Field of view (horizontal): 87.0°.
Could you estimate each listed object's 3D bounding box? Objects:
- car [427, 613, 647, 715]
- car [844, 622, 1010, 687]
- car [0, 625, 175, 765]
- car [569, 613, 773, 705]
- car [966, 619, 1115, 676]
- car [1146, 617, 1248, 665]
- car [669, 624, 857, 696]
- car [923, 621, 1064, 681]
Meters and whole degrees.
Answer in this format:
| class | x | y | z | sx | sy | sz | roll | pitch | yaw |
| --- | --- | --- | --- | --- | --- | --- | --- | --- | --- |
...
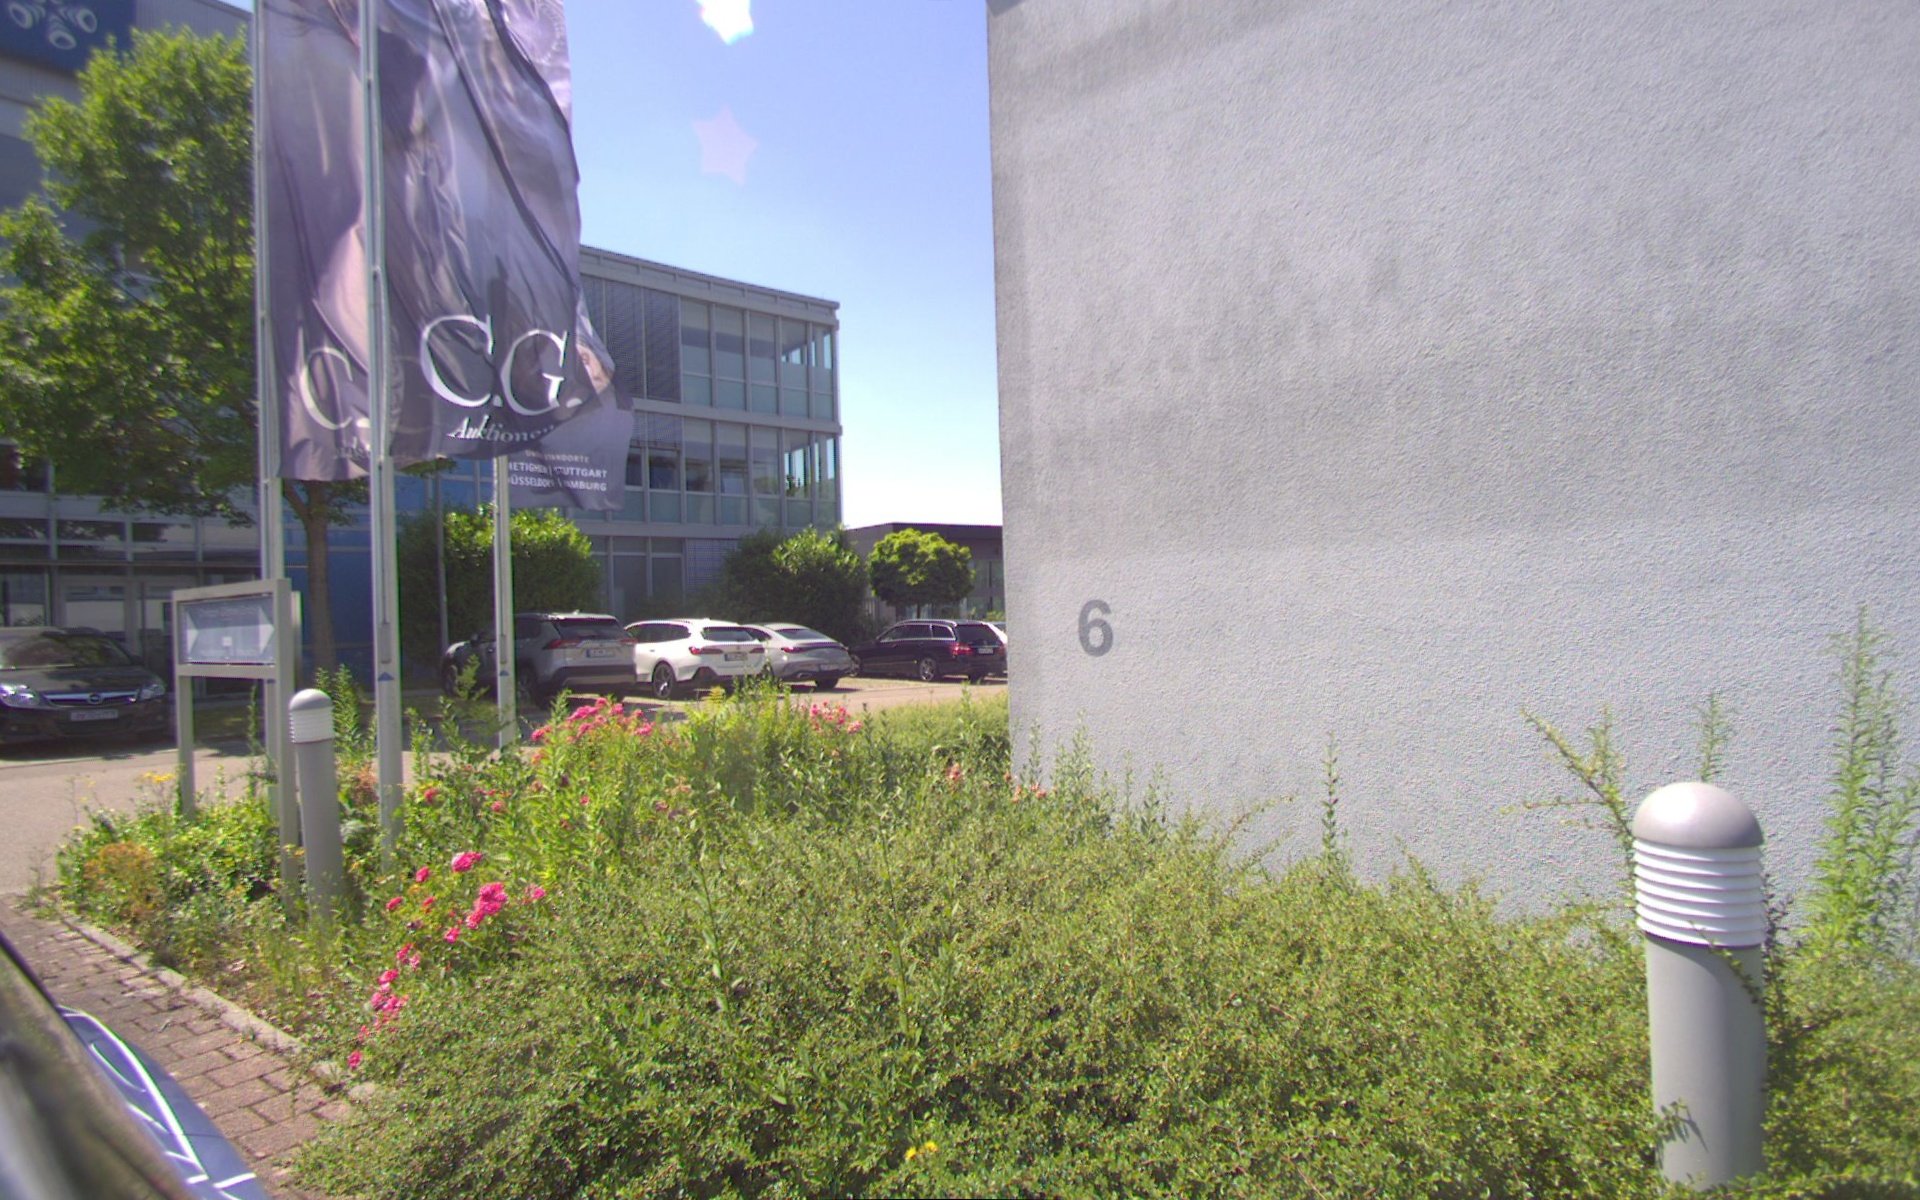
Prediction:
| class | x | y | z | sx | sy | sz | roll | pitch | yaw |
| --- | --- | --- | --- | --- | --- | --- | --- | --- | --- |
| car | -7.721 | 1.084 | 18.344 | 4.163 | 1.650 | 1.811 | -1 | -2 | 36 |
| car | -0.890 | 1.286 | 25.078 | 4.173 | 1.435 | 1.727 | -1 | -1 | 44 |
| car | -11.796 | 1.095 | 12.915 | 4.389 | 1.495 | 1.710 | -1 | -1 | 37 |
| car | -5.806 | 1.102 | 20.110 | 4.165 | 1.650 | 1.810 | -1 | -2 | 38 |
| car | 2.236 | 1.301 | 29.012 | 1.726 | 1.435 | 4.175 | 0 | 0 | -43 |
| car | 7.706 | 1.290 | 33.113 | 1.524 | 1.435 | 3.007 | 0 | 0 | -35 |
| car | -4.336 | 1.241 | 21.973 | 4.165 | 1.411 | 1.730 | -1 | -2 | 38 |
| car | 0.800 | 1.301 | 27.210 | 1.723 | 1.435 | 4.183 | 0 | -1 | -33 |
